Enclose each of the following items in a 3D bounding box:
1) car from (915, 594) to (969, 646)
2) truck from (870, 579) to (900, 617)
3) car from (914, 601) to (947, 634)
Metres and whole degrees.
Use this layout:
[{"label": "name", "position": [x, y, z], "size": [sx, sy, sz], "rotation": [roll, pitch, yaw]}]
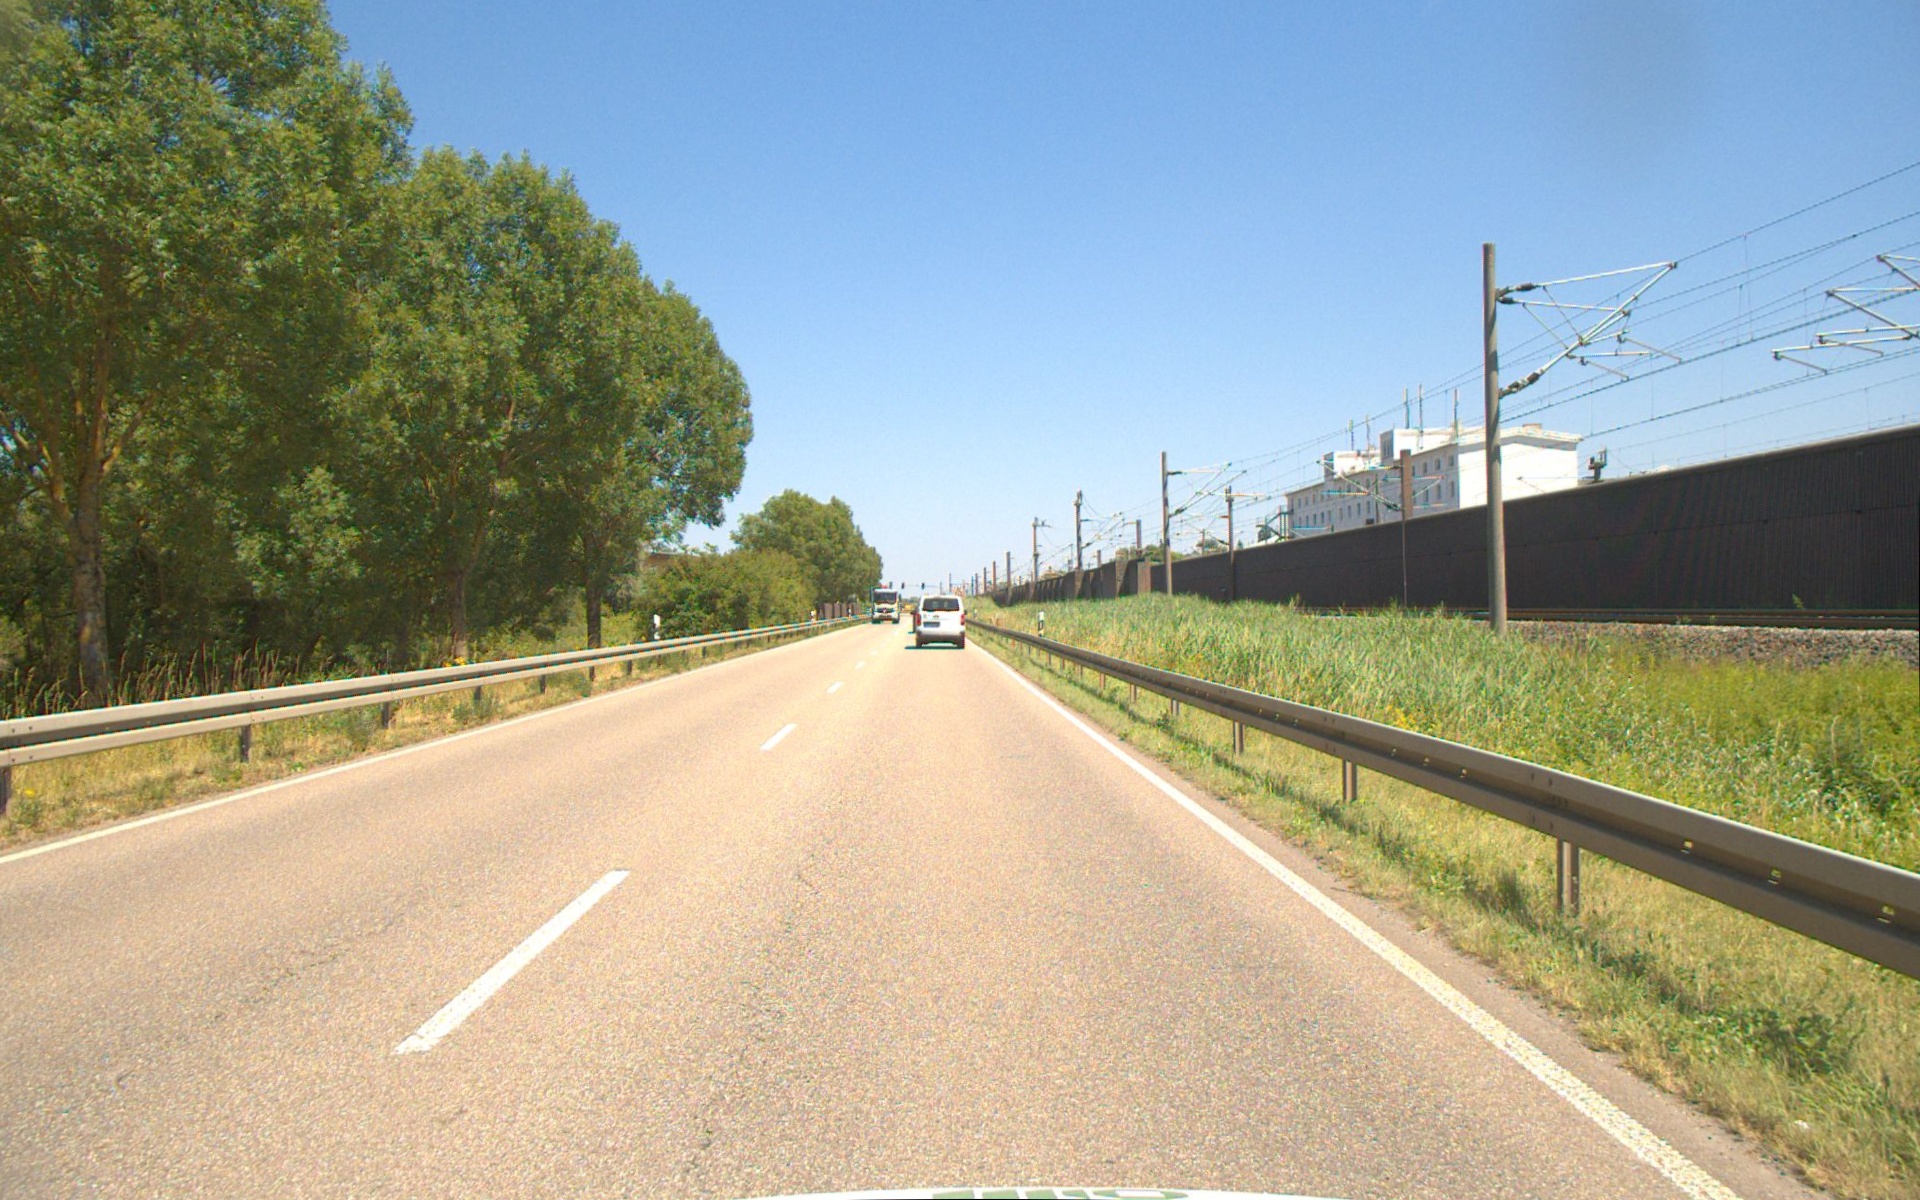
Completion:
[{"label": "car", "position": [-0.693, 0.734, 62.028], "size": [1.953, 1.882, 3.999], "rotation": [0, 0, -1]}, {"label": "truck", "position": [-7.020, -0.198, 155.697], "size": [2.727, 3.465, 7.986], "rotation": [0, 0, -2]}, {"label": "car", "position": [-1.761, 1.029, 99.383], "size": [1.953, 1.882, 3.999], "rotation": [0, 0, -1]}]
